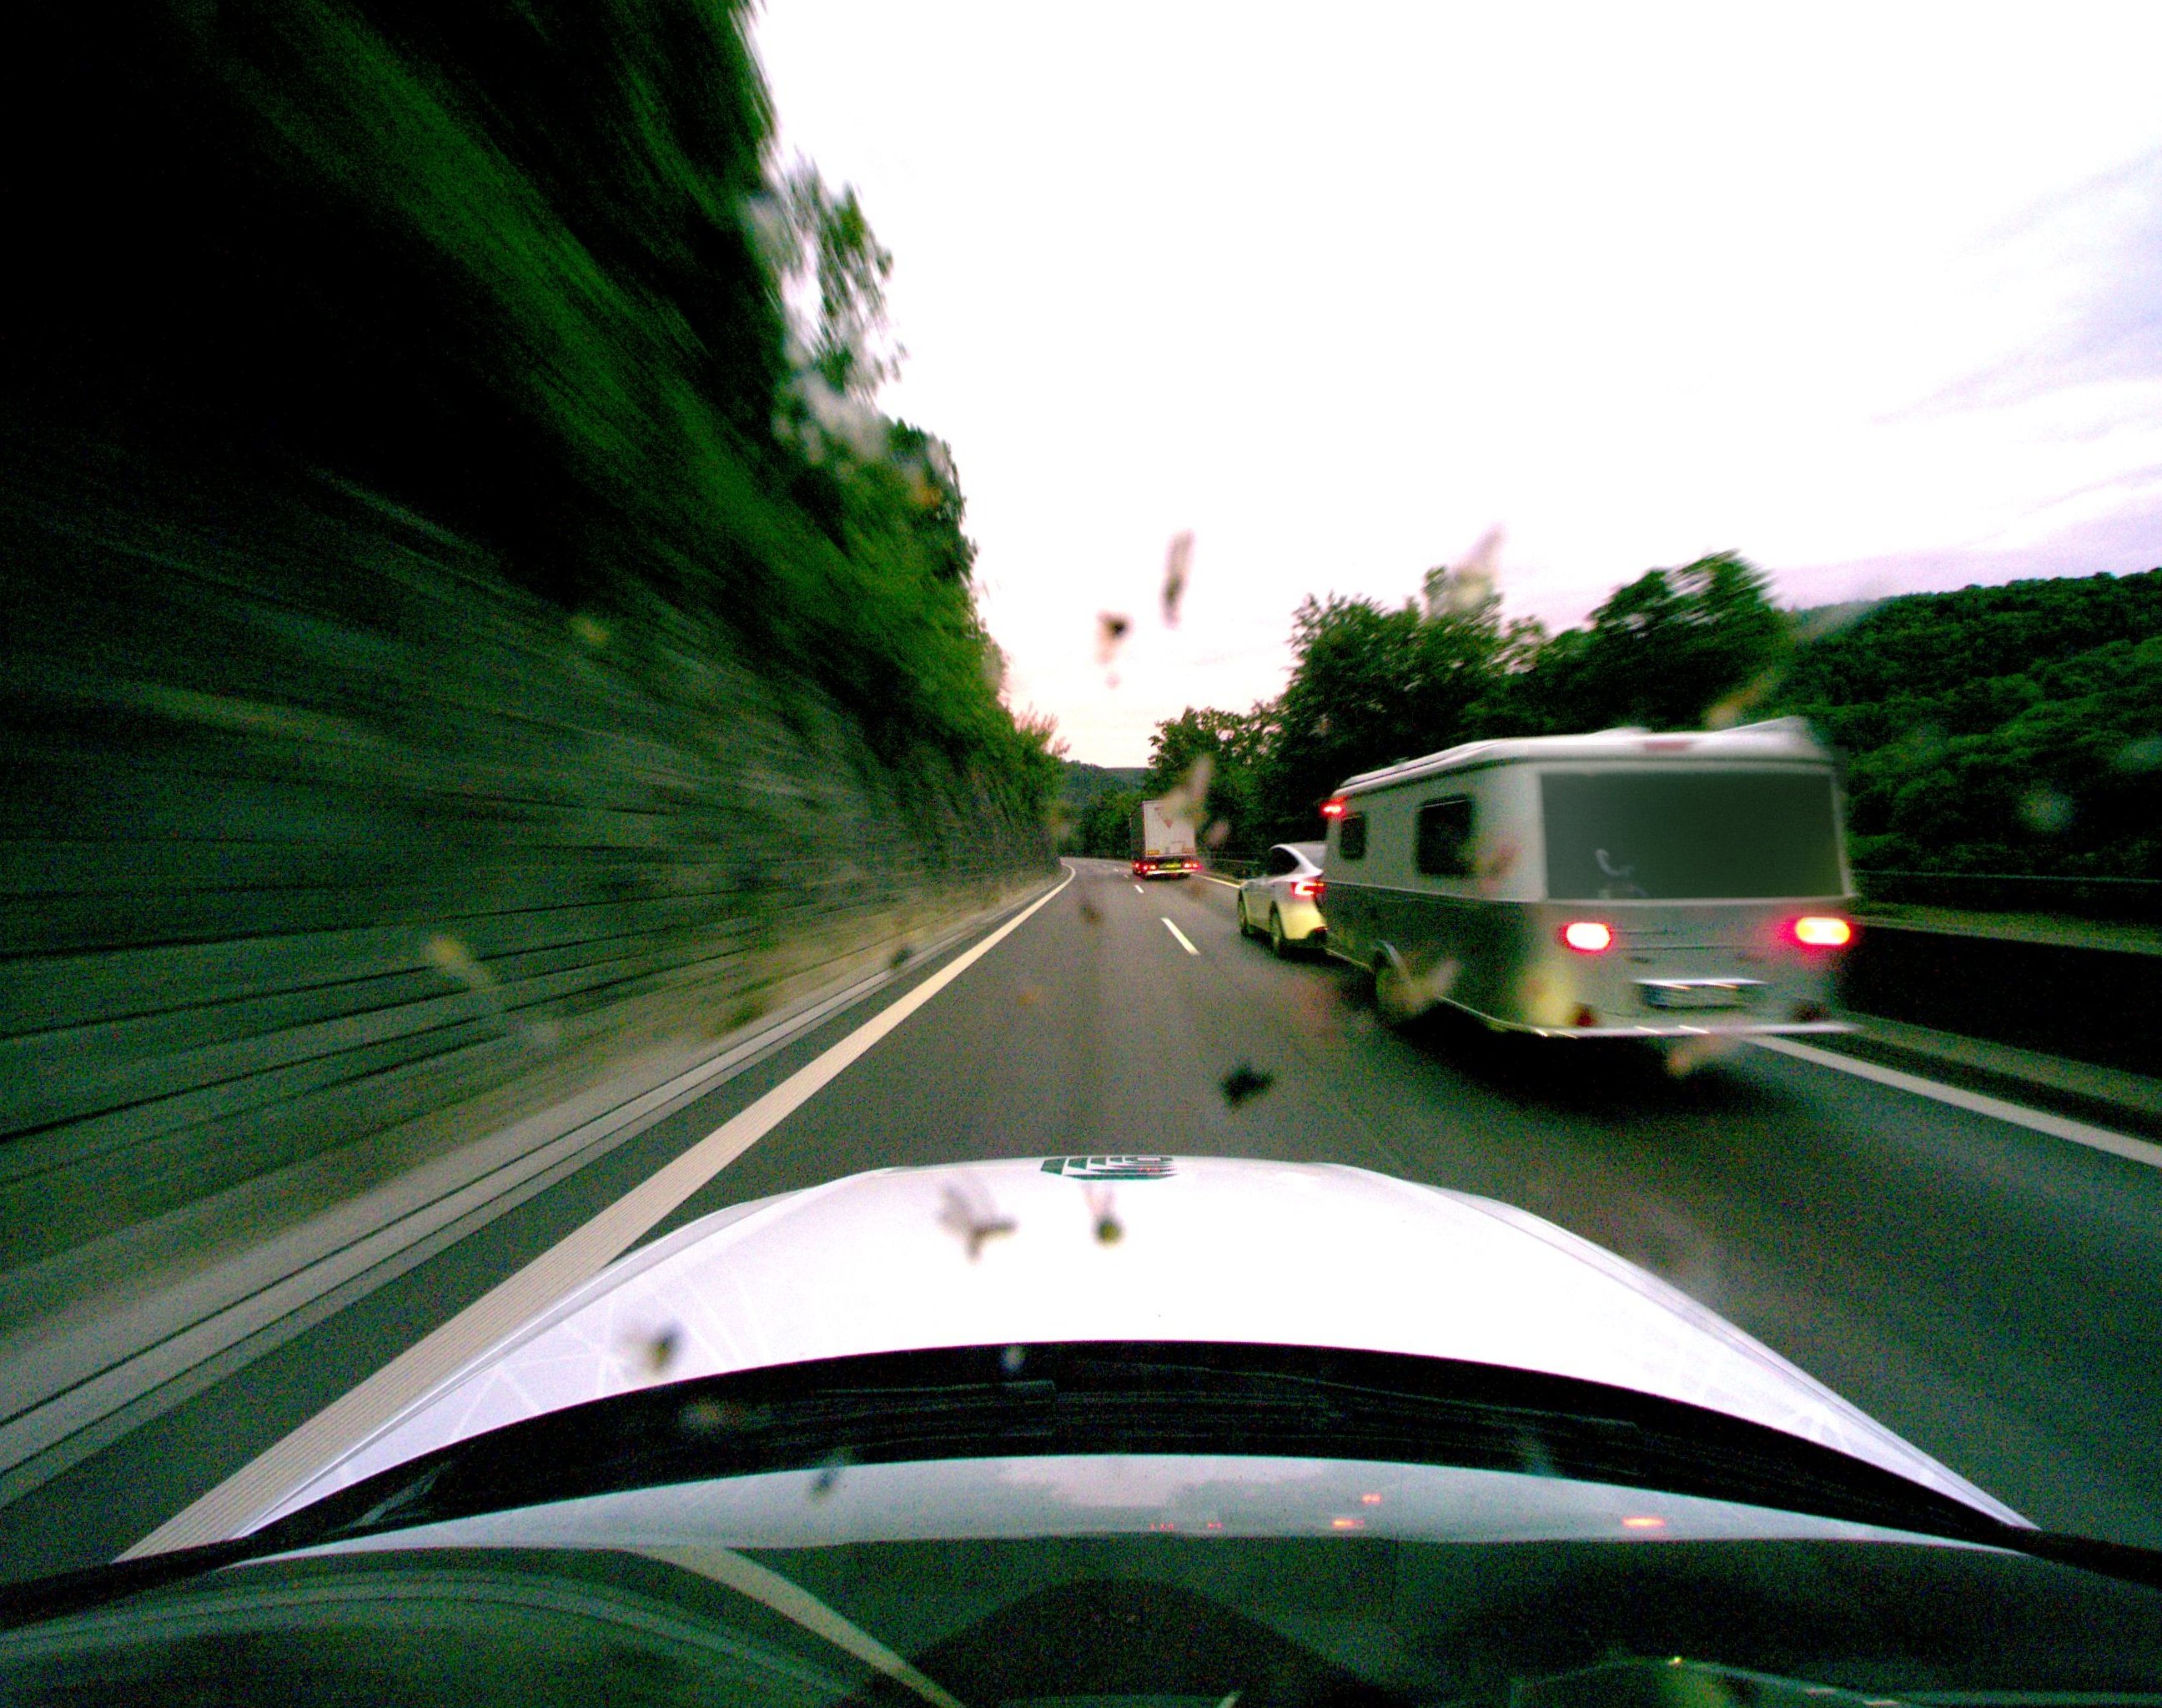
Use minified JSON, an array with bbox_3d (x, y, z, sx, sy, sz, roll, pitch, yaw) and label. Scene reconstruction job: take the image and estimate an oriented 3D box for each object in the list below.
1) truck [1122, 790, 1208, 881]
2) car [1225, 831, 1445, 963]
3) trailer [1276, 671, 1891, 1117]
[{"bbox_3d":[4.406,-0.883,46.932,3.283,4.173,16.503,-3,0,1],"label":"truck"},{"bbox_3d":[3.635,0.547,12.700,1.986,1.614,4.866,-1,0,1],"label":"car"},{"bbox_3d":[3.439,0.208,7.406,2.047,2.375,5.941,-2,0,2],"label":"trailer"}]
